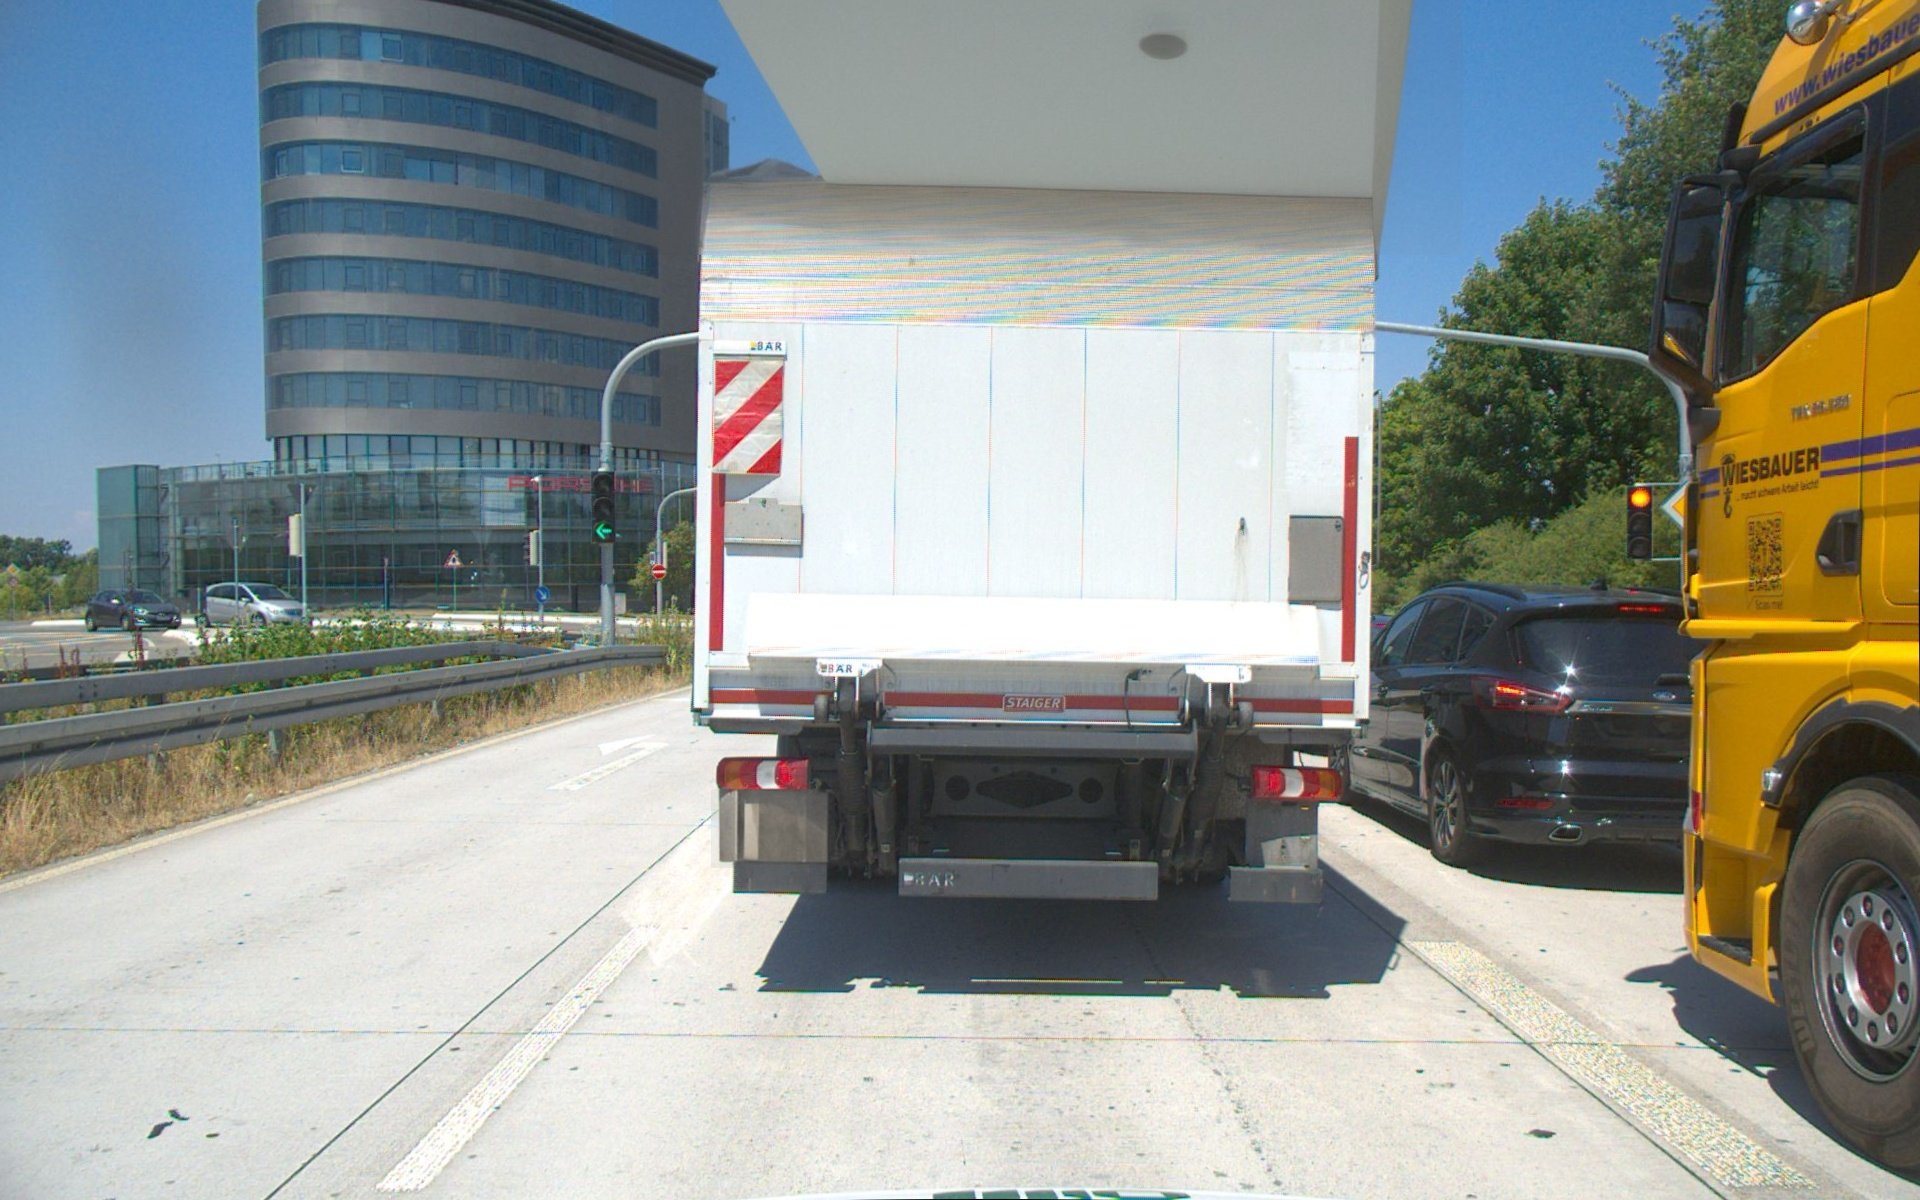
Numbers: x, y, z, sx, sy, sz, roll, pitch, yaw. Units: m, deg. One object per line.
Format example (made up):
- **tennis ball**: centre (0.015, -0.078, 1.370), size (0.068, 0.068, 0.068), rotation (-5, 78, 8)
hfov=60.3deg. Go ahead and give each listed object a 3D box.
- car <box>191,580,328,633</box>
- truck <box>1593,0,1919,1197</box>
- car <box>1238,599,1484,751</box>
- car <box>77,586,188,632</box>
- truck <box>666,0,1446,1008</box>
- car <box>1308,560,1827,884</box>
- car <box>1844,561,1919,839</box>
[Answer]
- **car**: centre (-22.634, 0.237, 53.412), size (4.231, 1.623, 1.774), rotation (-2, -2, 27)
- **truck**: centre (3.946, -0.416, 2.382), size (2.953, 3.838, 7.466), rotation (1, 0, -2)
- **car**: centre (4.260, 0.736, 18.275), size (1.731, 1.435, 4.611), rotation (1, 0, 2)
- **car**: centre (-28.896, 0.338, 57.720), size (4.241, 1.482, 1.691), rotation (-2, -2, 35)
- **truck**: centre (0.282, -0.519, 10.515), size (2.713, 3.927, 9.368), rotation (1, 0, -1)
- **car**: centre (3.672, 0.649, 10.986), size (1.747, 1.668, 4.647), rotation (1, 0, 0)
- **car**: centre (7.338, 0.672, 9.465), size (1.733, 1.839, 4.788), rotation (1, 0, -4)
